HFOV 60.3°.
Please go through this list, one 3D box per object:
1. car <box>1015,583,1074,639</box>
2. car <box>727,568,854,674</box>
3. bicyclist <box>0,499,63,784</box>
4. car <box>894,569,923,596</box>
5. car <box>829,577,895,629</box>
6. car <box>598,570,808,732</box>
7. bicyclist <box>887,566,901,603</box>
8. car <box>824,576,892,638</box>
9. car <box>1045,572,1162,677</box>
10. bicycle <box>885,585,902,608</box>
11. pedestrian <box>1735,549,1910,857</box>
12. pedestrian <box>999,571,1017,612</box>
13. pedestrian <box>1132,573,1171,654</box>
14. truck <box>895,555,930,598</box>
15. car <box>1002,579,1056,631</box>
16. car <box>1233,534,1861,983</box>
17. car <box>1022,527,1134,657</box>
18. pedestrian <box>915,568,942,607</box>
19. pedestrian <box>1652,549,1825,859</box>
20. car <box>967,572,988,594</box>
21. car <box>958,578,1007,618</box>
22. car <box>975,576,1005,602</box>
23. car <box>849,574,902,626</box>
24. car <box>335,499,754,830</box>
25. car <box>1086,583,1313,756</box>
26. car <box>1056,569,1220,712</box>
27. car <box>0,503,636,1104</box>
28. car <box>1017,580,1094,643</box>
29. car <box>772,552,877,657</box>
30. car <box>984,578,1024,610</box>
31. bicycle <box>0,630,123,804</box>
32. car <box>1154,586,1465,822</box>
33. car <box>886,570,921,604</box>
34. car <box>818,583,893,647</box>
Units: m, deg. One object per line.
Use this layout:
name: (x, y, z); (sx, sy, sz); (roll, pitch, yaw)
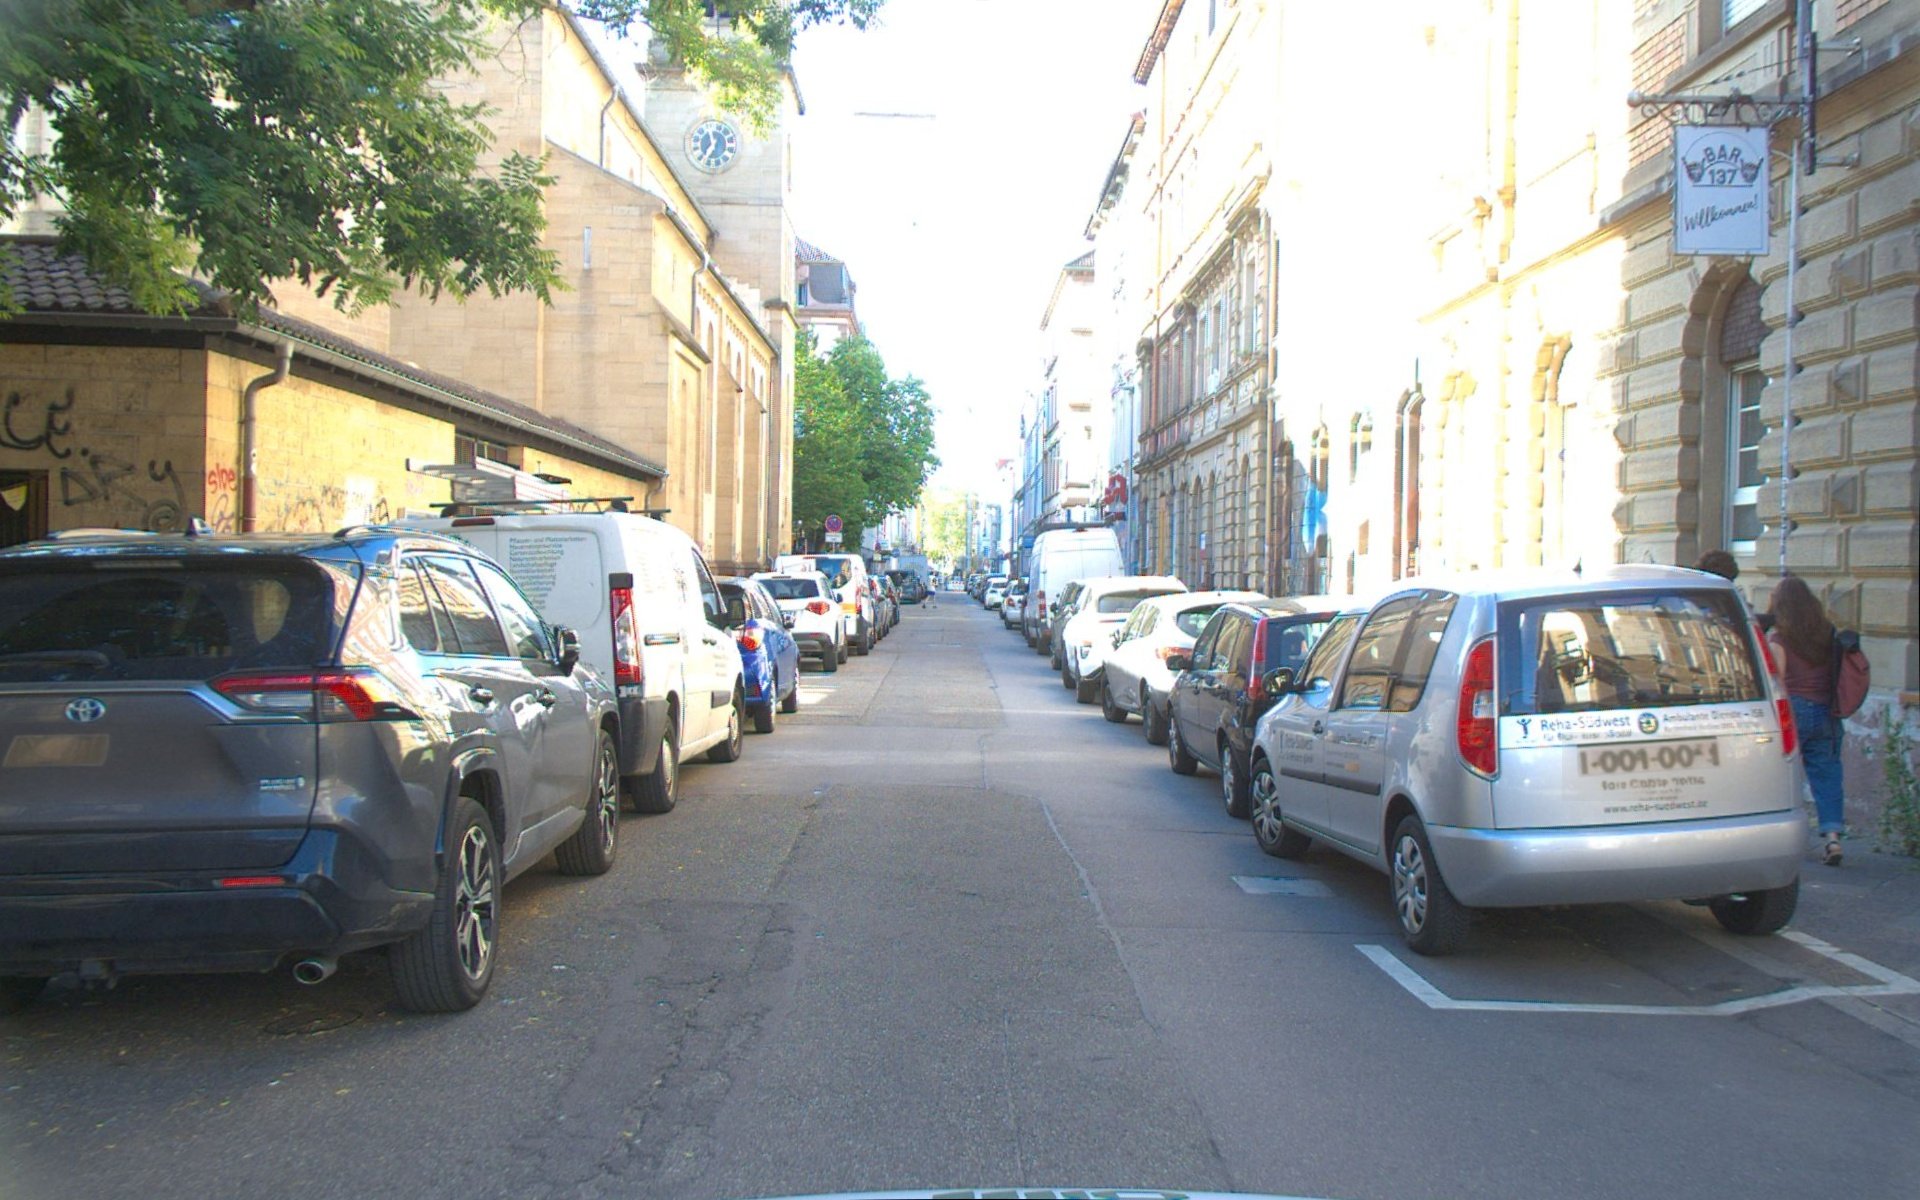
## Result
car: (2.483, 0.308, 49.198); (1.537, 1.521, 3.653); (3, 1, 0)
car: (-2.797, 0.306, 27.980); (1.707, 1.614, 3.869); (2, 1, 0)
bicyclist: (-6.227, 0.229, 10.266); (0.788, 1.753, 0.692); (4, 0, 8)
car: (-3.575, -1.250, 115.935); (1.837, 1.827, 4.000); (1, 1, 0)
car: (-2.896, 0.059, 49.489); (1.537, 1.422, 3.809); (-2, 1, 2)
car: (-2.593, 0.446, 17.480); (1.653, 1.502, 3.860); (0, 1, -1)
bicyclist: (-3.145, -0.742, 78.863); (0.593, 1.717, 0.885); (1, 0, -1)
car: (-2.699, 0.154, 44.378); (1.639, 1.586, 3.999); (0, 1, -1)
car: (2.466, 0.373, 29.153); (1.653, 1.671, 3.924); (2, 1, 0)
bicycle: (-3.170, -0.168, 78.888); (0.724, 1.062, 1.859); (1, 1, 0)
pedestrian: (4.796, 0.545, 9.233); (0.562, 1.650, 0.734); (0, 1, -2)
pedestrian: (2.240, -0.380, 77.080); (0.669, 1.875, 0.693); (2, 1, -12)
pedestrian: (4.341, 0.297, 37.484); (0.628, 1.803, 0.677); (3, 0, -9)
truck: (-3.754, -1.885, 132.399); (2.480, 3.339, 6.994); (1, 1, 0)
car: (2.209, 0.132, 53.585); (1.571, 1.531, 4.001); (3, 1, 1)
car: (2.623, 0.592, 8.426); (1.669, 1.744, 3.936); (1, 1, -2)
car: (2.580, -0.210, 37.584); (2.026, 2.656, 5.888); (2, 1, 0)
pedestrian: (-1.526, -0.607, 80.332); (0.997, 1.875, 0.778); (2, 1, -29)
pedestrian: (4.248, 0.541, 9.063); (0.579, 1.632, 0.727); (0, 1, -2)
car: (1.648, -1.617, 158.472); (1.953, 2.049, 4.000); (1, 1, 0)
car: (0.867, -0.096, 65.917); (1.682, 1.514, 3.867); (1, 1, -3)
car: (2.096, -0.815, 116.199); (1.953, 1.660, 4.000); (4, 1, 0)
car: (-2.770, -0.012, 54.859); (1.567, 1.642, 3.808); (-1, 1, -1)
car: (-2.705, 0.336, 11.892); (1.807, 1.894, 4.466); (1, 1, 1)
car: (2.450, 0.651, 17.838); (1.541, 1.551, 3.905); (4, 1, -4)
car: (2.384, 0.503, 23.141); (1.771, 1.719, 4.214); (3, 0, 0)
car: (-2.526, 0.538, 6.767); (1.706, 1.675, 4.287); (1, 1, -3)
car: (2.528, 0.267, 44.726); (1.743, 1.512, 4.360); (3, 1, 0)
car: (-2.701, 0.057, 33.840); (1.826, 1.991, 4.609); (0, 1, -1)
car: (2.150, -0.314, 82.127); (1.859, 1.514, 3.869); (1, 1, 0)
bicycle: (-6.288, 0.664, 10.282); (1.724, 0.939, 0.827); (4, 1, 8)
car: (2.544, 0.682, 12.858); (1.504, 1.539, 3.680); (1, 1, -2)
car: (-3.187, -0.762, 94.061); (1.837, 1.827, 4.000); (1, 1, 0)
car: (-2.514, 0.327, 40.387); (1.582, 1.477, 3.950); (0, 1, 0)
